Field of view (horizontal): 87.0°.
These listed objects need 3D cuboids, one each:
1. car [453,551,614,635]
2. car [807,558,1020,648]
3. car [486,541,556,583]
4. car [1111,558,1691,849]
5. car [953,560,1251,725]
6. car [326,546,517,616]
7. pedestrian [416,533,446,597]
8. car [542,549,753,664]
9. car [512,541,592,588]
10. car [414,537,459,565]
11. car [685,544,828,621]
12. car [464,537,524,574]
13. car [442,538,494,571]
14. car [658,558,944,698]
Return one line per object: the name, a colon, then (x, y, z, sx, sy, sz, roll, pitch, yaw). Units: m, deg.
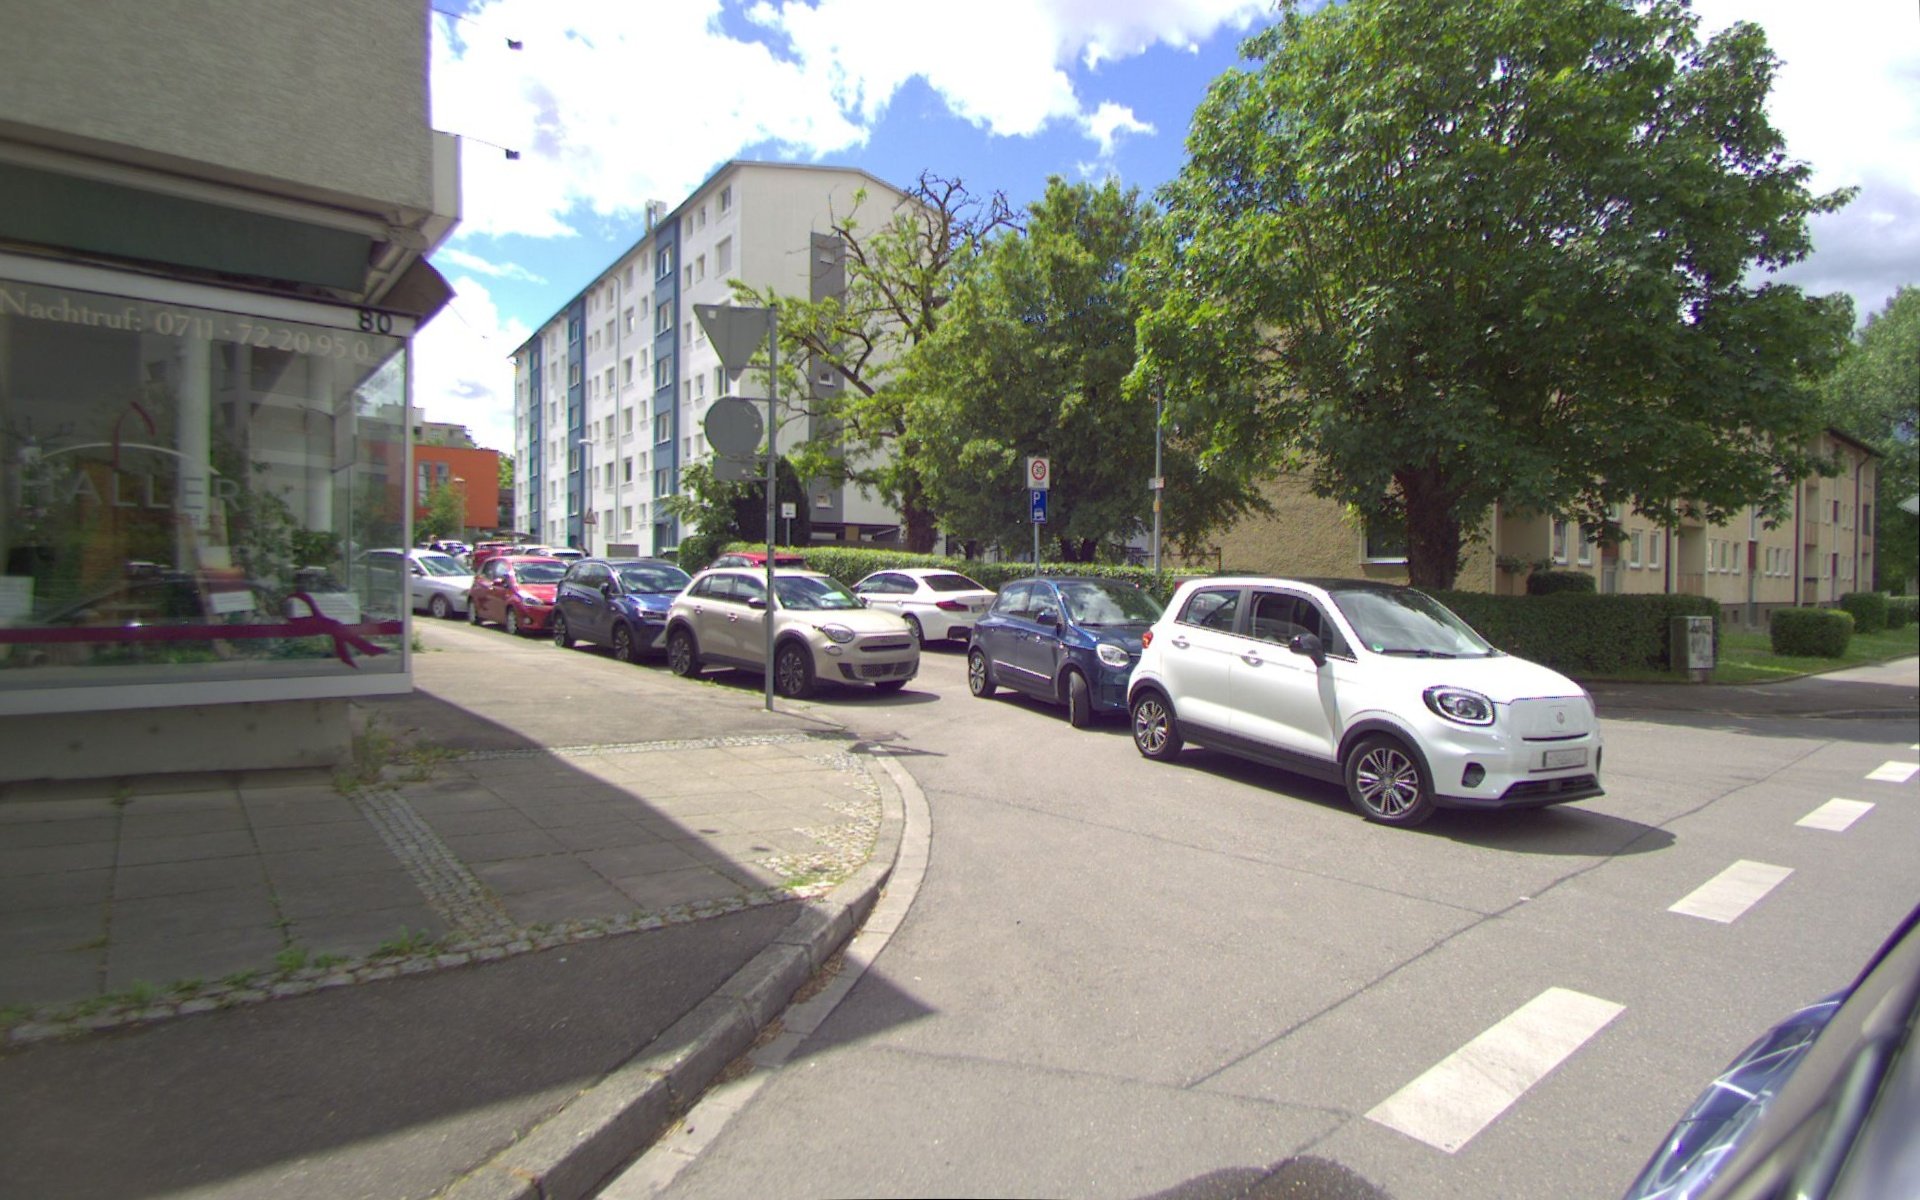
car: (-8.741, -0.225, 20.550, 1.765, 1.449, 4.314, -1, 4, -41)
car: (-1.051, -0.016, 20.256, 1.820, 1.522, 4.531, 1, 2, -41)
car: (-19.398, -1.698, 44.555, 1.816, 1.708, 5.470, 1, 2, -34)
car: (2.973, 0.505, 7.621, 1.804, 1.590, 3.655, 0, 2, -28)
car: (1.472, 0.353, 11.884, 1.803, 1.590, 3.657, 0, 2, -23)
car: (-12.354, -0.475, 23.265, 3.726, 1.449, 1.787, 2, 3, 17)
pedestrian: (-16.348, -1.068, 31.286, 0.667, 1.940, 0.574, 0, -1, -13)
car: (-5.265, -0.009, 16.798, 1.880, 1.590, 3.915, -3, 5, -42)
car: (-16.149, -1.421, 39.909, 1.818, 1.708, 4.537, 1, 2, -37)
car: (-33.252, -3.123, 64.206, 1.818, 1.708, 4.537, 1, 2, -37)
car: (-5.190, -0.495, 25.354, 1.793, 1.733, 4.246, 0, 3, -38)
car: (-23.421, -2.234, 50.747, 1.818, 1.708, 4.537, 1, 2, -37)
car: (-27.637, -2.559, 56.772, 1.818, 1.708, 4.537, 1, 2, -37)
car: (-2.223, 0.265, 13.462, 1.773, 1.537, 3.927, 1, 2, -45)
